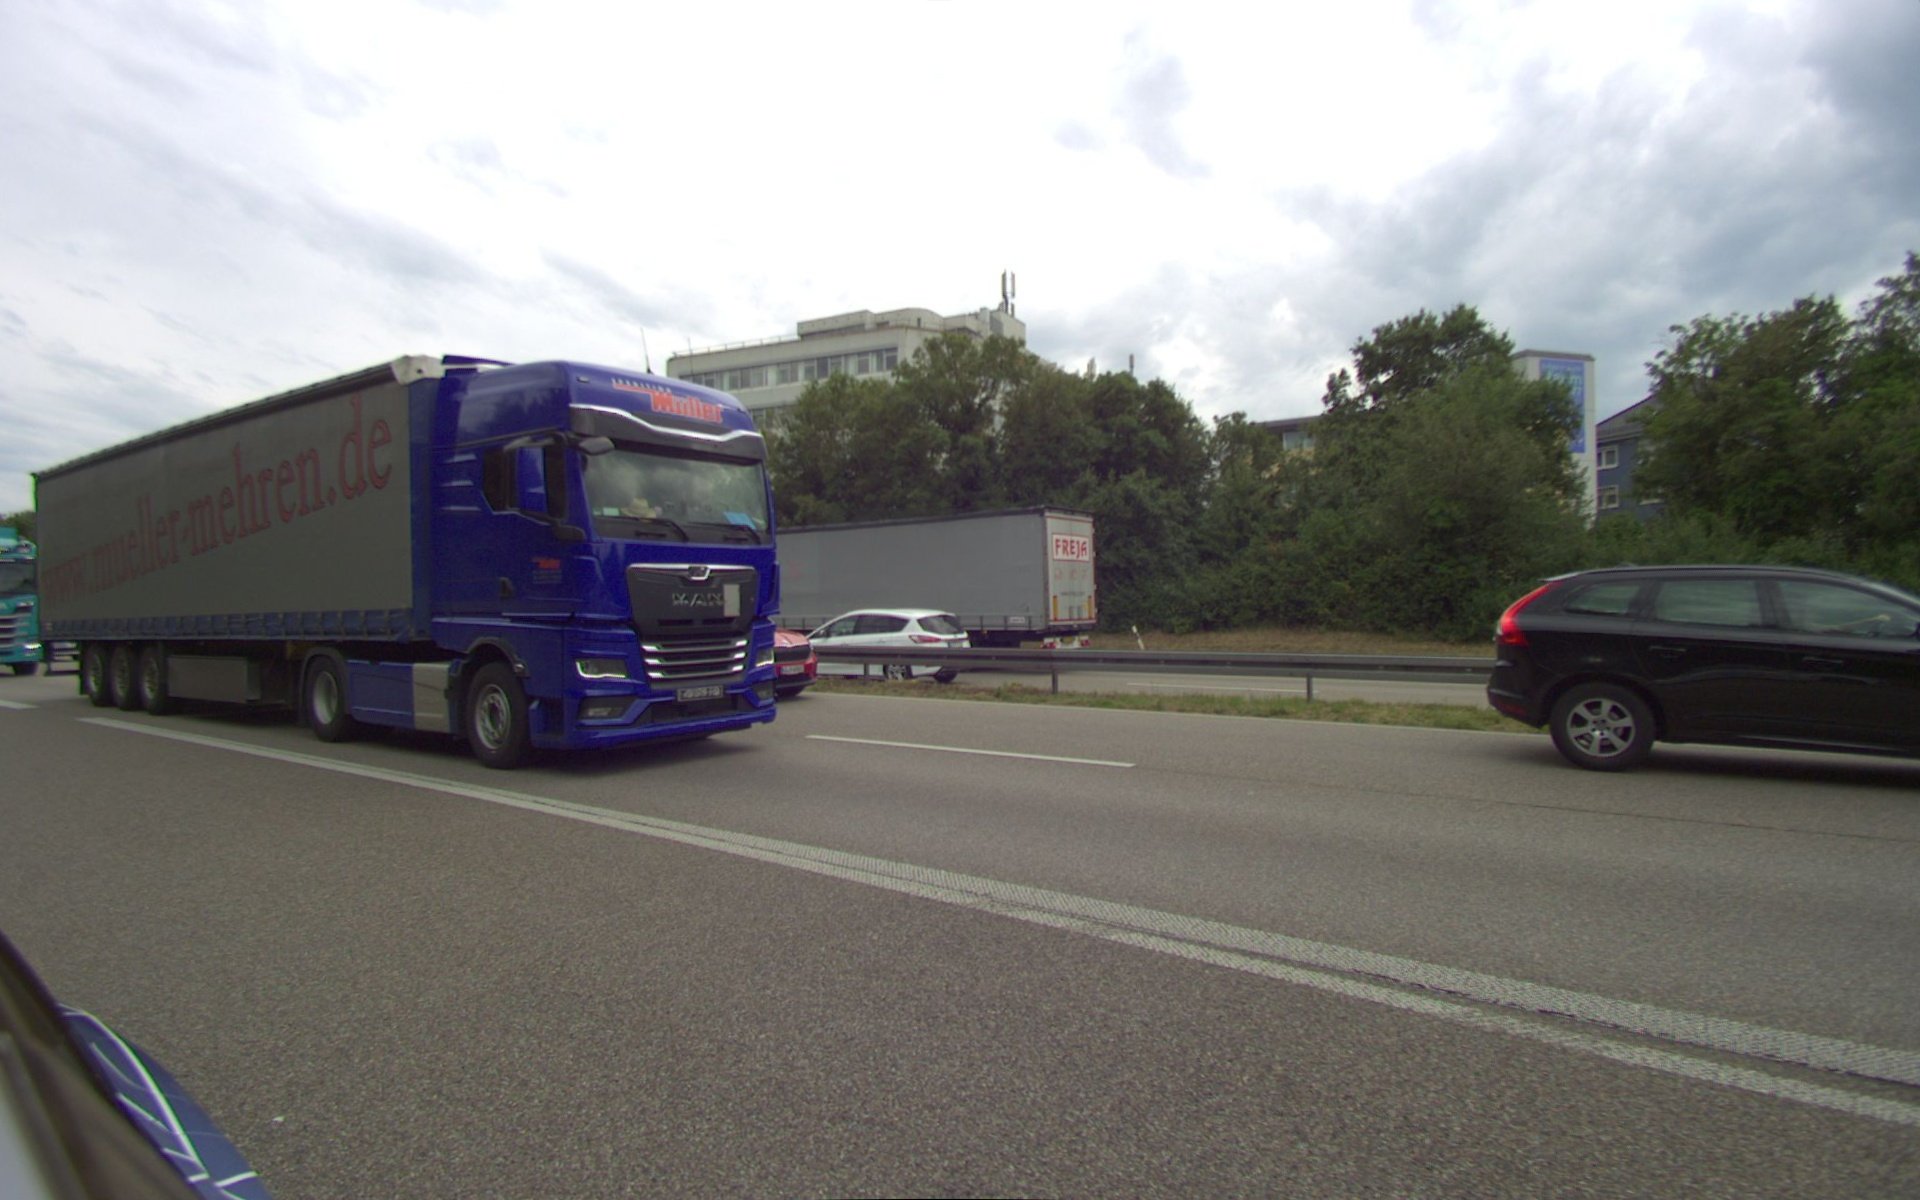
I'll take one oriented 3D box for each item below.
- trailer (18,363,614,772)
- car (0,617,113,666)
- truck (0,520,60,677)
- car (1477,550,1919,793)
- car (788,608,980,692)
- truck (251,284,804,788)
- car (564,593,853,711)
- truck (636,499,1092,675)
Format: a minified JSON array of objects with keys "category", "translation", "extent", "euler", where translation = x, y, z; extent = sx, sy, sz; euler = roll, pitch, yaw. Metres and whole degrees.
[{"category":"trailer","translation":[-10.390,-0.275,15.013],"extent":[13.434,4.053,2.604],"euler":[-1,0,36]},{"category":"car","translation":[-30.815,1.380,34.498],"extent":[3.989,1.583,1.977],"euler":[-1,-1,34]},{"category":"truck","translation":[-28.202,0.069,27.552],"extent":[11.302,3.825,2.904],"euler":[-1,-2,35]},{"category":"car","translation":[6.780,0.503,7.868],"extent":[4.676,1.667,1.730],"euler":[-1,-1,38]},{"category":"car","translation":[-1.748,1.059,22.519],"extent":[4.201,1.701,1.587],"euler":[-1,-1,35]},{"category":"truck","translation":[-5.006,-0.503,11.142],"extent":[6.575,4.073,2.538],"euler":[-1,0,36]},{"category":"car","translation":[-4.123,0.771,16.191],"extent":[4.781,1.630,1.975],"euler":[-2,-1,38]},{"category":"truck","translation":[-3.490,-0.162,29.238],"extent":[14.854,4.121,2.959],"euler":[-1,-1,36]}]
